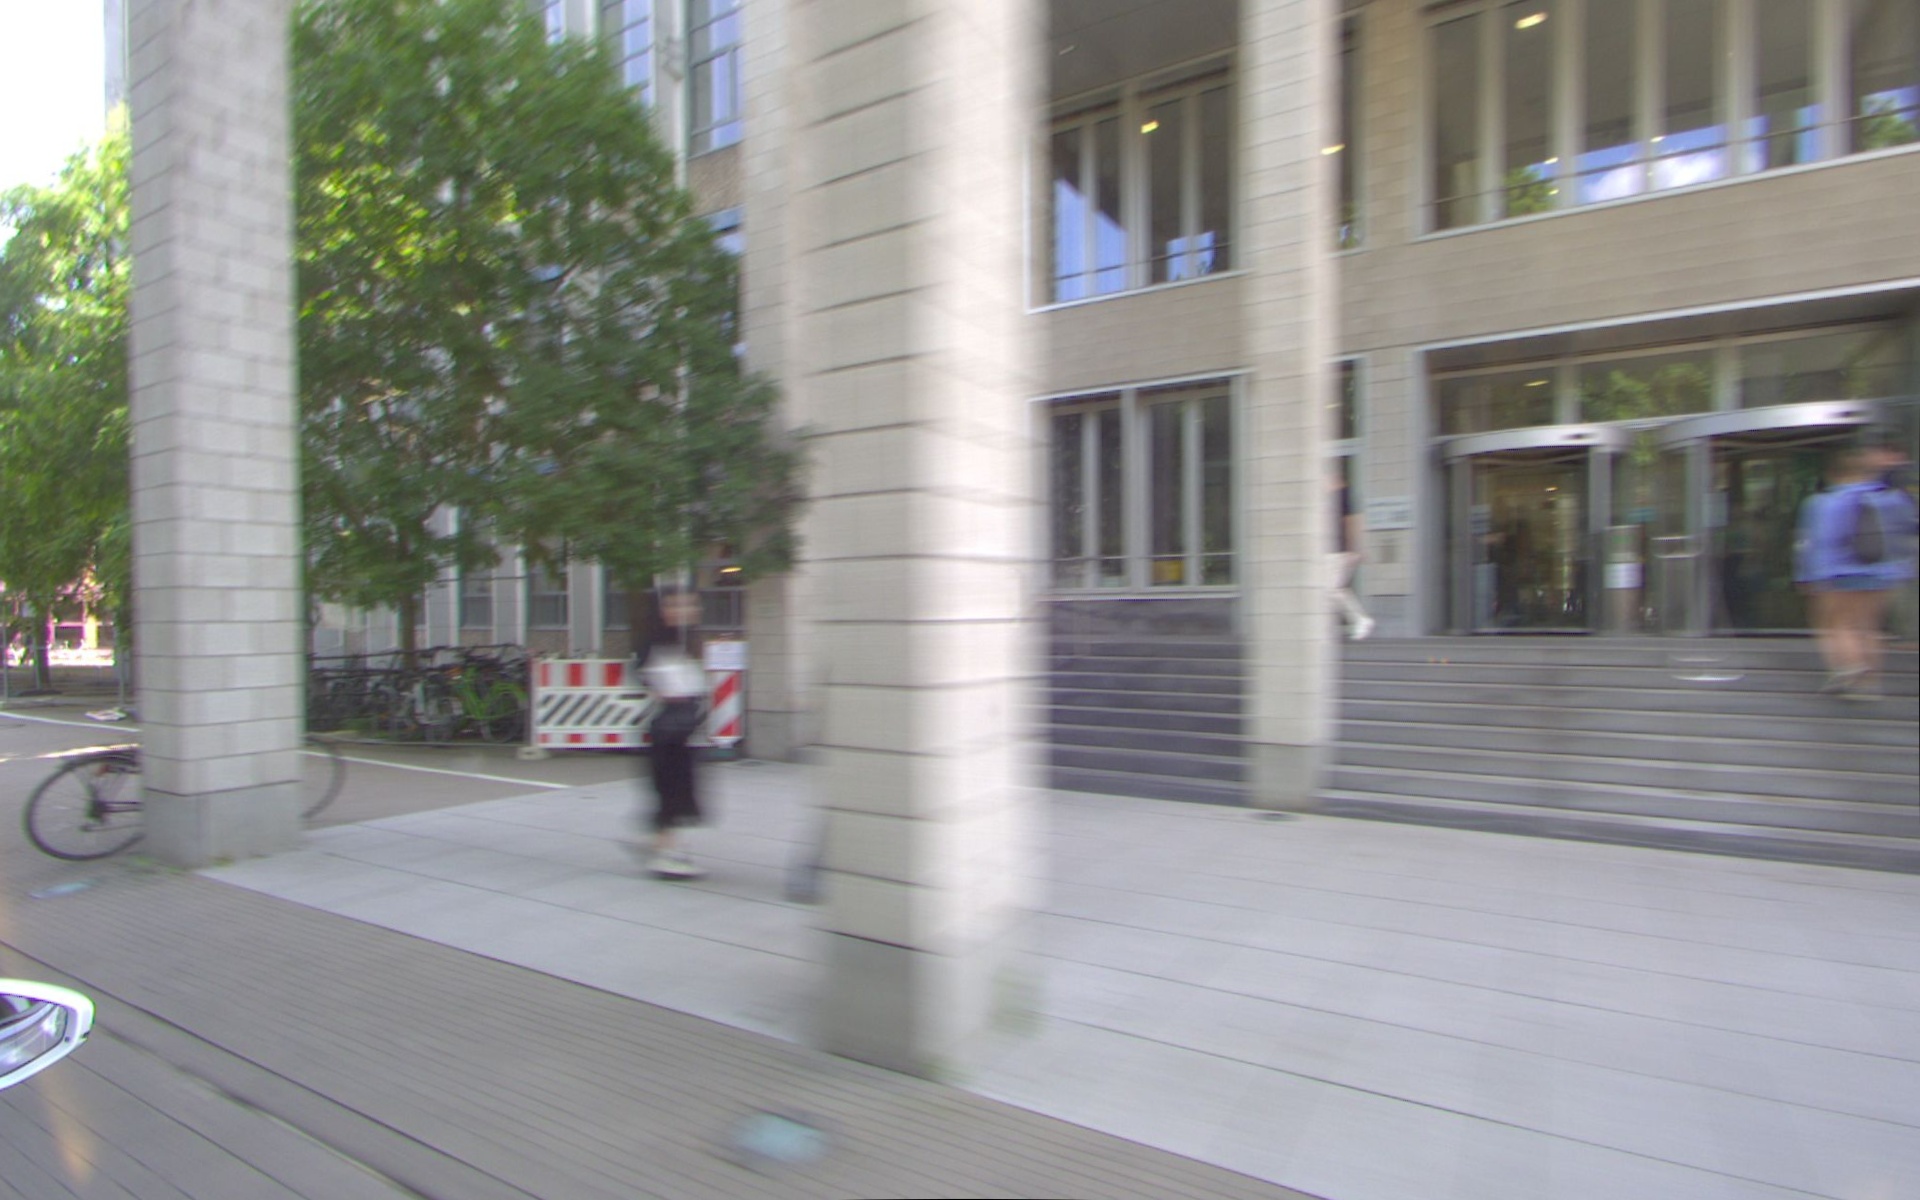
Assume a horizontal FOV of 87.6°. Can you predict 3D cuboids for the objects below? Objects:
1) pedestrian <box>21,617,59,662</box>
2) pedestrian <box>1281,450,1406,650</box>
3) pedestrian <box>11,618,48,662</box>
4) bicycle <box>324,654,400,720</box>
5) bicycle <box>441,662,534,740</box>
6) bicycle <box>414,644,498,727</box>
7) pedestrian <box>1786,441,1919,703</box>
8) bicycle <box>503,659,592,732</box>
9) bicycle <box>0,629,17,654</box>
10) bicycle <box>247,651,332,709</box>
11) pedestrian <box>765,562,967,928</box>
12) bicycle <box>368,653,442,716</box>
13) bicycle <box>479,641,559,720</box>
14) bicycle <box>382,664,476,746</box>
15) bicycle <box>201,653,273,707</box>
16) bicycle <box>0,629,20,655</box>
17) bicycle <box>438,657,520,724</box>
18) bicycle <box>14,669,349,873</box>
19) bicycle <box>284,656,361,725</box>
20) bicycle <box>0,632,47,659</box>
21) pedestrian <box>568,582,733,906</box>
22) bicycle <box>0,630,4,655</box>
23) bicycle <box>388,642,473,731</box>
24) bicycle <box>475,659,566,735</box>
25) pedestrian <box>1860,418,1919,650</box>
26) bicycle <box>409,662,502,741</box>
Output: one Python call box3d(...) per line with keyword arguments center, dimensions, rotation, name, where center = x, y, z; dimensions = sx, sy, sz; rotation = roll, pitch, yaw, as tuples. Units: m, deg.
box3d(center=(-36.436, 1.547, 39.668), dimensions=(0.674, 1.750, 0.901), rotation=(-3, -1, 27), name="pedestrian")
box3d(center=(3.672, -0.451, 9.617), dimensions=(0.868, 1.827, 0.700), rotation=(0, 1, -23), name="pedestrian")
box3d(center=(-37.095, 1.588, 39.923), dimensions=(0.674, 1.750, 0.901), rotation=(-3, -1, 27), name="pedestrian")
box3d(center=(-9.008, 1.297, 15.069), dimensions=(1.426, 0.917, 0.290), rotation=(0, 0, 29), name="bicycle")
box3d(center=(-6.049, 1.273, 12.805), dimensions=(1.426, 0.917, 0.290), rotation=(0, 0, 29), name="bicycle")
box3d(center=(-7.078, 1.181, 14.044), dimensions=(1.426, 1.108, 0.290), rotation=(0, 0, 29), name="bicycle")
box3d(center=(6.434, -0.184, 7.157), dimensions=(0.634, 1.747, 0.863), rotation=(1, 1, 28), name="pedestrian")
box3d(center=(-5.590, 1.278, 13.541), dimensions=(1.426, 0.917, 0.290), rotation=(0, 0, 29), name="bicycle")
box3d(center=(-42.898, 1.824, 44.151), dimensions=(0.516, 1.124, 1.808), rotation=(0, -2, 29), name="bicycle")
box3d(center=(-11.299, 1.335, 16.856), dimensions=(1.775, 0.917, 0.290), rotation=(0, 0, 24), name="bicycle")
box3d(center=(-0.498, 0.683, 5.112), dimensions=(0.884, 1.691, 0.673), rotation=(0, -1, -21), name="pedestrian")
box3d(center=(-8.692, 1.306, 15.666), dimensions=(1.426, 0.917, 0.290), rotation=(0, 0, 29), name="bicycle")
box3d(center=(-6.570, 1.172, 14.896), dimensions=(1.426, 1.113, 0.290), rotation=(0, 0, 29), name="bicycle")
box3d(center=(-6.528, 1.271, 12.295), dimensions=(1.426, 0.917, 0.290), rotation=(0, 0, 29), name="bicycle")
box3d(center=(-13.039, 1.434, 18.046), dimensions=(1.592, 0.917, 0.290), rotation=(0, 0, 24), name="bicycle")
box3d(center=(-42.250, 1.825, 43.607), dimensions=(0.517, 1.124, 1.805), rotation=(-1, -2, 35), name="bicycle")
box3d(center=(-6.903, 1.280, 14.347), dimensions=(1.426, 0.899, 0.290), rotation=(0, 0, 29), name="bicycle")
box3d(center=(-5.053, 1.047, 6.648), dimensions=(0.442, 1.053, 1.737), rotation=(1, 1, 27), name="bicycle")
box3d(center=(-9.243, 1.297, 14.511), dimensions=(1.426, 0.917, 0.290), rotation=(0, 0, 29), name="bicycle")
box3d(center=(-39.909, 1.946, 42.443), dimensions=(0.468, 1.124, 1.690), rotation=(-1, -2, 35), name="bicycle")
box3d(center=(-1.662, 0.732, 5.504), dimensions=(0.727, 1.639, 0.807), rotation=(0, 0, -7), name="pedestrian")
box3d(center=(-44.510, 1.911, 45.268), dimensions=(0.516, 1.124, 1.807), rotation=(0, -2, 30), name="bicycle")
box3d(center=(-7.239, 1.158, 13.684), dimensions=(1.426, 1.143, 0.290), rotation=(0, 0, 29), name="bicycle")
box3d(center=(-5.796, 1.261, 13.189), dimensions=(1.426, 0.917, 0.290), rotation=(0, 0, 29), name="bicycle")
box3d(center=(7.759, -0.519, 8.157), dimensions=(0.583, 1.827, 0.680), rotation=(1, 1, 40), name="pedestrian")
box3d(center=(-6.345, 1.259, 12.578), dimensions=(1.426, 0.917, 0.290), rotation=(0, 0, 29), name="bicycle")
